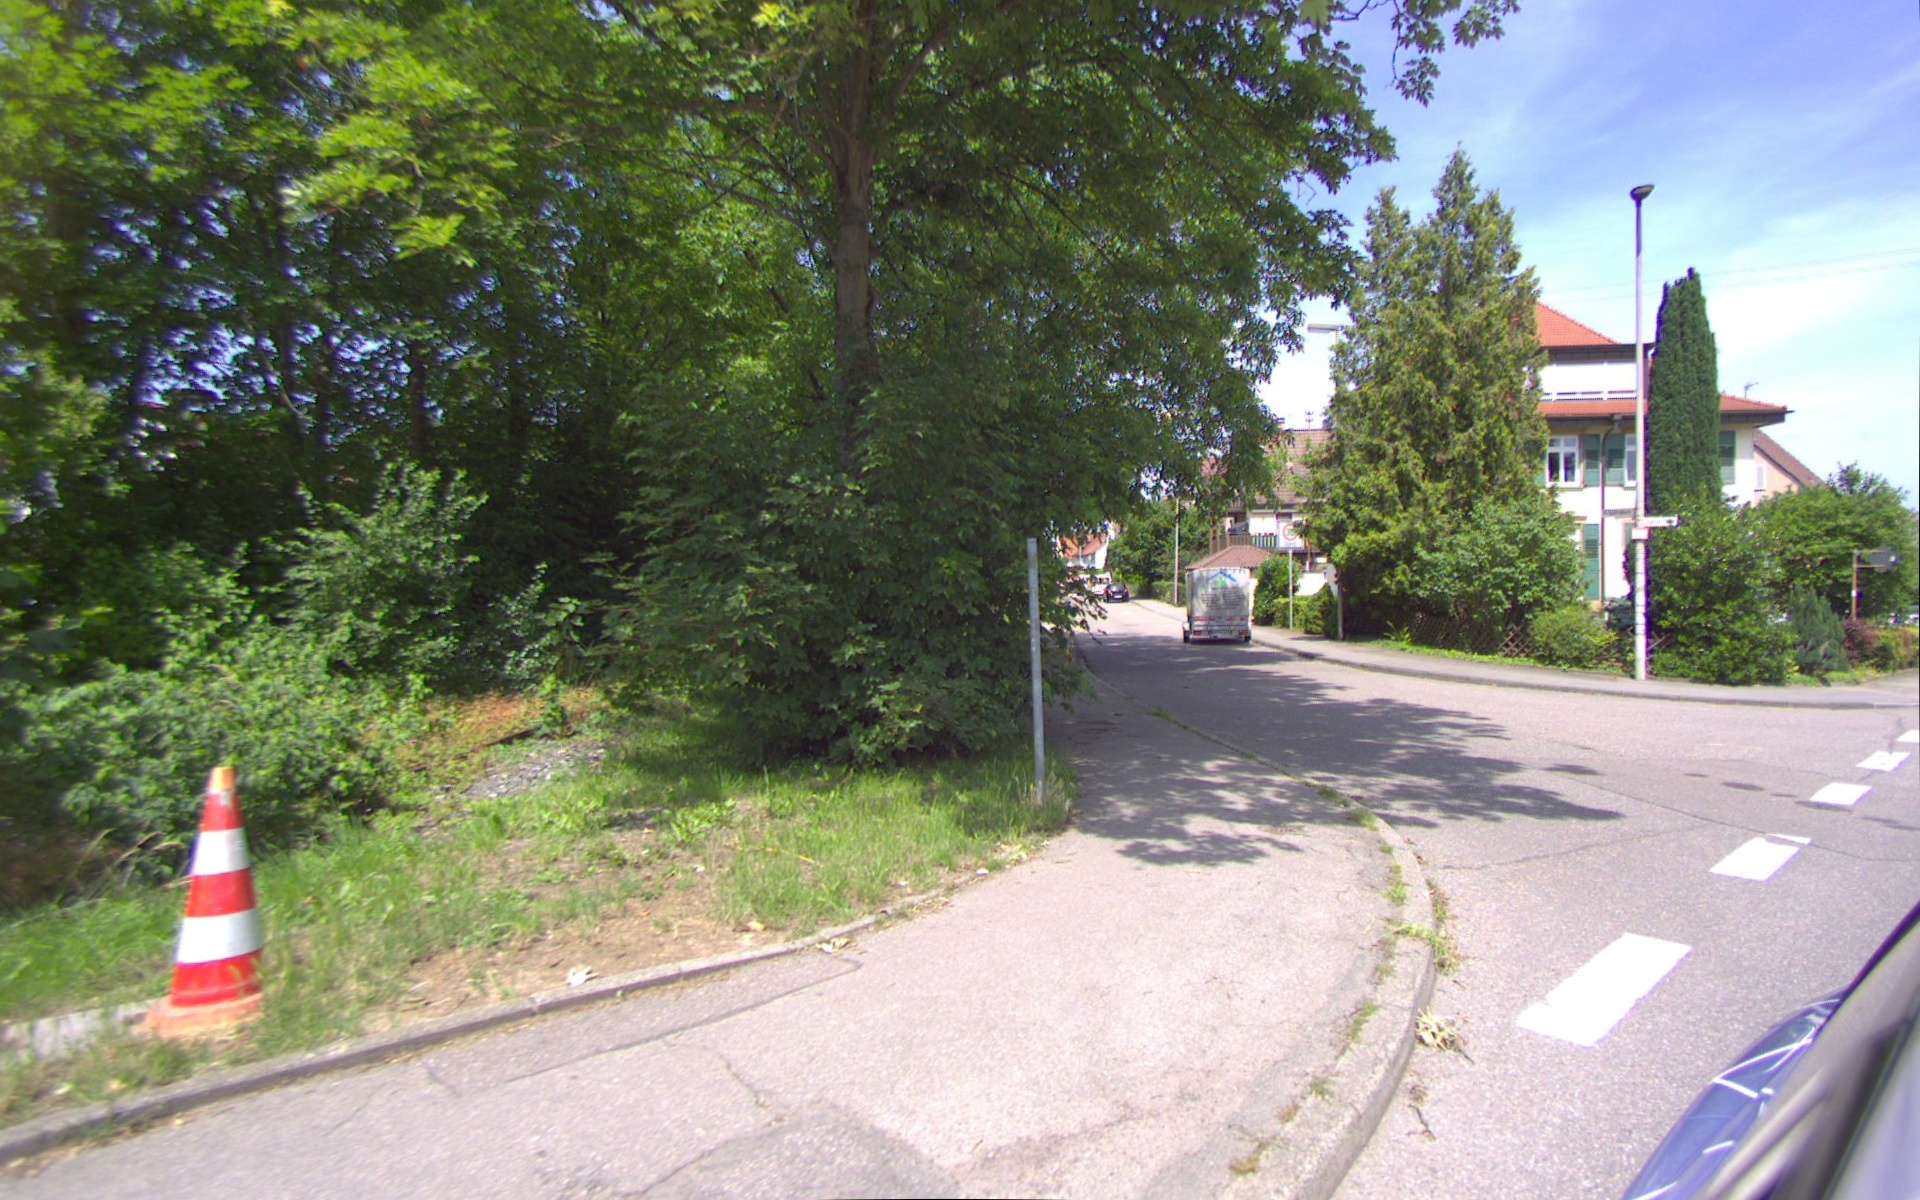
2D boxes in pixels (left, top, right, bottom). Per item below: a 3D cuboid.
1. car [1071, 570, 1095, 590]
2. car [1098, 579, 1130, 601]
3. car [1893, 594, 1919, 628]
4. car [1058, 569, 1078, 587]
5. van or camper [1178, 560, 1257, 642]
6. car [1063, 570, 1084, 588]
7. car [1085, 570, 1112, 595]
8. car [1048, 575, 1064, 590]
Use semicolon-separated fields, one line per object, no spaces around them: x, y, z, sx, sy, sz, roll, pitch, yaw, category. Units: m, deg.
11.689;-1.865;96.578;1.813;1.873;3.898;0;0;0;car
11.508;-0.755;75.606;1.813;1.597;3.898;0;0;0;car
48.511;0.543;51.211;3.499;1.500;1.608;-3;3;-41;car
11.998;-2.411;112.144;1.813;1.873;3.898;0;0;0;car
7.428;0.010;29.450;1.789;2.167;3.380;-2;0;9;van or camper
12.019;-2.248;107.612;1.813;1.873;3.898;0;0;0;car
11.887;-1.522;87.161;1.813;2.107;3.898;0;0;0;car
12.574;-2.276;132.861;1.813;1.873;3.898;0;0;0;car
